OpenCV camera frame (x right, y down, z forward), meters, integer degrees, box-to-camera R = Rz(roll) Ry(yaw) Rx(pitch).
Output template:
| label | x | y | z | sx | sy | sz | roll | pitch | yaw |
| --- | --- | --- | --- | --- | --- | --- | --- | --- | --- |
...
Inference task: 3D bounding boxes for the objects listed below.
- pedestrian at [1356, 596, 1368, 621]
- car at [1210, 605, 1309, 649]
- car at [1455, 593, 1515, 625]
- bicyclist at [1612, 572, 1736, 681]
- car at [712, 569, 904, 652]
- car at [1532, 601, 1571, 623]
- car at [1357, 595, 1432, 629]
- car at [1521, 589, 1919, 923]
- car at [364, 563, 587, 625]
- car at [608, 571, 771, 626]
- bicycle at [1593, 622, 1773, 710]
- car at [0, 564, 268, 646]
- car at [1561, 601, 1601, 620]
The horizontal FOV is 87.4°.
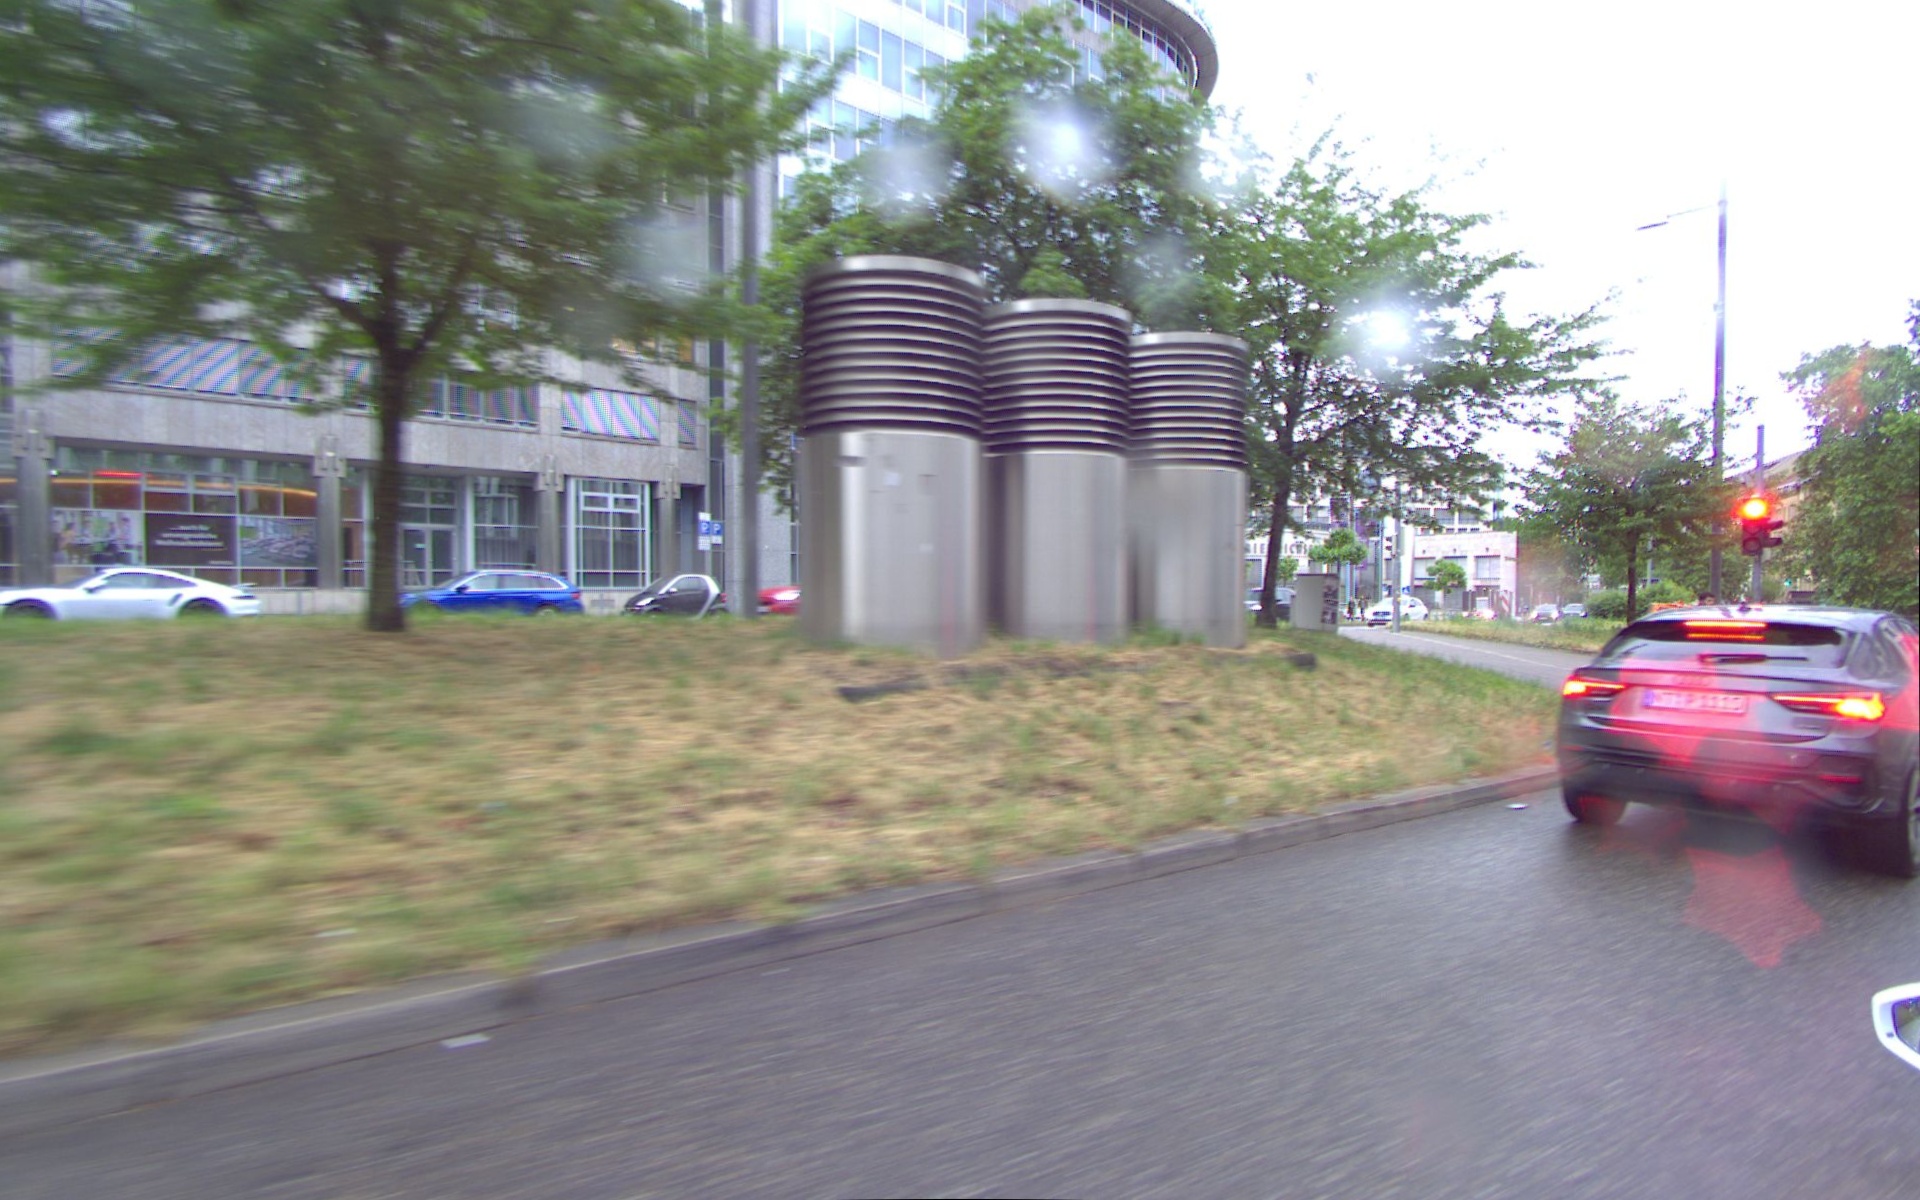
| label | x | y | z | sx | sy | sz | roll | pitch | yaw |
| --- | --- | --- | --- | --- | --- | --- | --- | --- | --- |
| pedestrian | 29.128 | 0.646 | 72.744 | 0.611 | 1.786 | 0.723 | -2 | -2 | 34 |
| car | 11.192 | 0.961 | 37.405 | 3.973 | 1.495 | 1.849 | 1 | 1 | -44 |
| car | 30.351 | 0.530 | 58.037 | 4.552 | 1.750 | 1.707 | 1 | 1 | -44 |
| bicyclist | 11.179 | 0.393 | 15.760 | 0.998 | 1.603 | 1.132 | 2 | 2 | -14 |
| car | -3.412 | 0.216 | 22.975 | 3.973 | 1.723 | 1.926 | 1 | 1 | -44 |
| car | 42.920 | 0.843 | 72.821 | 1.783 | 1.506 | 3.982 | 3 | 2 | 39 |
| car | 20.640 | 0.555 | 47.667 | 4.164 | 1.495 | 1.801 | 1 | 1 | -44 |
| car | 5.787 | 0.769 | 7.057 | 4.217 | 1.638 | 1.832 | 0 | 1 | -40 |
| car | -11.421 | -0.120 | 23.846 | 4.443 | 1.343 | 1.874 | 1 | 1 | -42 |
| car | -7.390 | -0.037 | 27.596 | 3.984 | 1.420 | 1.760 | 0 | 0 | -41 |
| bicycle | 11.178 | 0.997 | 15.638 | 0.995 | 1.129 | 2.060 | 2 | 2 | -15 |
| car | -15.870 | 0.085 | 18.873 | 4.643 | 1.420 | 1.762 | 0 | 0 | -39 |
| car | 51.897 | 0.895 | 83.913 | 4.354 | 1.506 | 1.786 | 1 | 2 | -45 |
